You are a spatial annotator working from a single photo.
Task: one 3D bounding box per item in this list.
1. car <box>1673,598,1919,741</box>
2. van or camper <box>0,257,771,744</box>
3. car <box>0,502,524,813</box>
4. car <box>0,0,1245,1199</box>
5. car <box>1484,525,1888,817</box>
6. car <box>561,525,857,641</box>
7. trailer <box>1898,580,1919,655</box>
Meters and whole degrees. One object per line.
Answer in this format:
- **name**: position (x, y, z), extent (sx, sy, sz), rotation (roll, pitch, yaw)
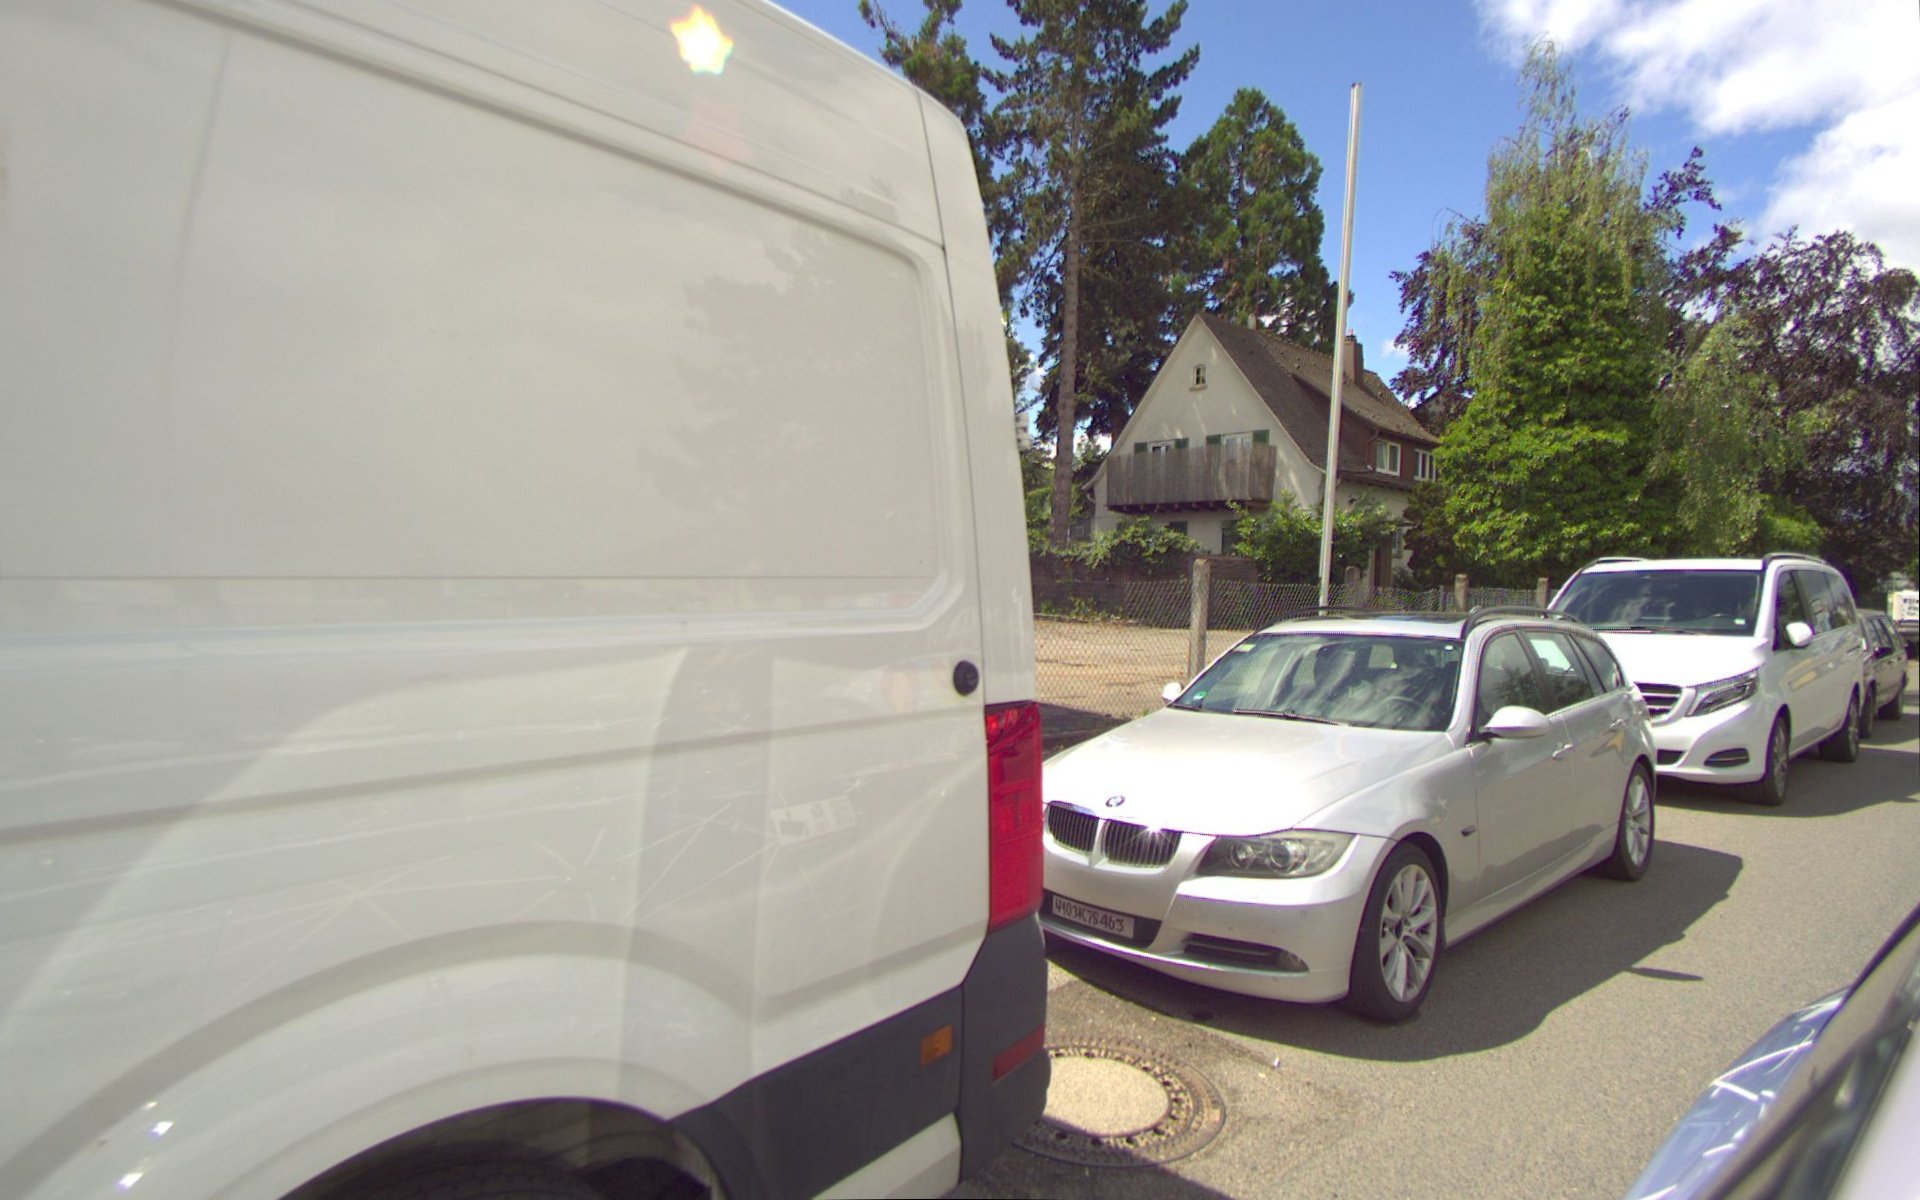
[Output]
- **car**: position (10.754, 0.715, 12.748), extent (4.906, 1.469, 1.758), rotation (0, 0, -41)
- **van or camper**: position (-5.413, -0.693, 9.053), extent (6.795, 3.098, 2.886), rotation (0, 2, -42)
- **car**: position (-5.209, 0.249, 5.574), extent (4.840, 1.508, 1.768), rotation (1, 1, -41)
- **car**: position (-2.617, -0.059, 0.685), extent (6.544, 2.722, 2.219), rotation (0, 3, -42)
- **car**: position (6.759, 0.457, 9.118), extent (5.297, 1.909, 1.908), rotation (0, 0, -42)
- **car**: position (-4.339, -0.246, 17.981), extent (4.725, 1.774, 1.822), rotation (2, 0, -40)
- **trailer**: position (25.954, 0.433, 26.169), extent (4.681, 1.846, 1.997), rotation (0, 0, -41)
